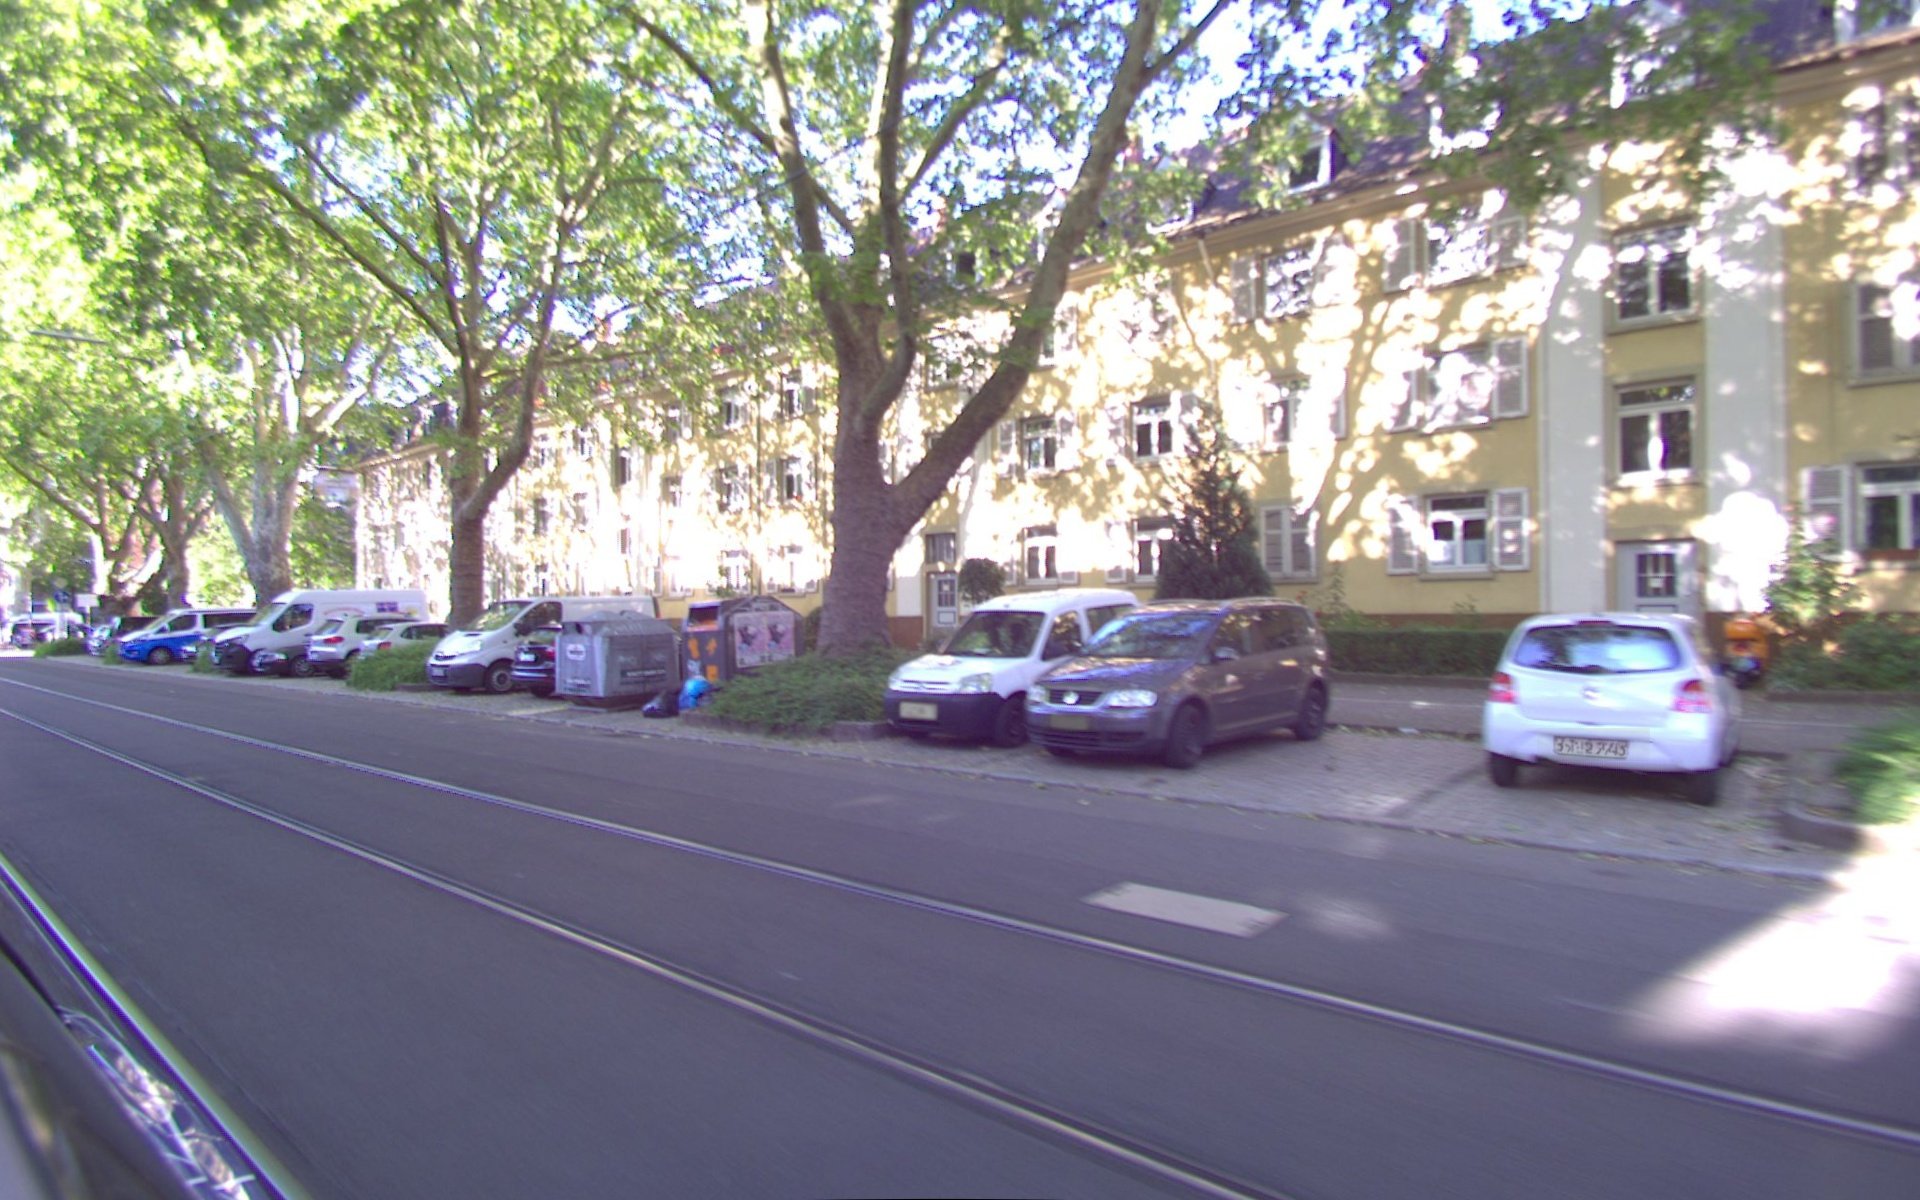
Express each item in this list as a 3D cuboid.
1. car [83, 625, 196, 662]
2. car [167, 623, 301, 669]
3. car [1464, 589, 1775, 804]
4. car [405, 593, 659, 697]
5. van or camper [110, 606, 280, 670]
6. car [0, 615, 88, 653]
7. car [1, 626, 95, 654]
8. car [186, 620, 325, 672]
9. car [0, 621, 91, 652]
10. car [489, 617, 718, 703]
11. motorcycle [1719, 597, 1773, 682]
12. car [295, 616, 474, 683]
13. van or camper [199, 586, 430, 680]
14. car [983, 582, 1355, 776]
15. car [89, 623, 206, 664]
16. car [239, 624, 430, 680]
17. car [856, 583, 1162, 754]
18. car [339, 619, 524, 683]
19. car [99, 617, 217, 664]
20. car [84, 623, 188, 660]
[{"bbox_3d":[-36.940,1.913,45.643,1.697,1.497,3.652,-1,-1,34],"label":"car"},{"bbox_3d":[-25.812,1.613,36.067,1.692,1.471,3.500,-1,-1,34],"label":"car"},{"bbox_3d":[6.108,0.716,9.186,1.861,1.509,3.807,-2,-2,41],"label":"car"},{"bbox_3d":[-8.962,0.861,21.548,1.959,1.960,4.613,-2,-1,37],"label":"car"},{"bbox_3d":[-28.849,1.363,38.291,2.117,2.206,4.771,-2,-1,39],"label":"van or camper"},{"bbox_3d":[-62.845,2.327,68.954,2.026,2.416,4.957,-2,-1,39],"label":"car"},{"bbox_3d":[-56.714,2.470,63.002,1.923,1.527,4.119,-2,-1,39],"label":"car"},{"bbox_3d":[-23.995,1.536,34.549,1.612,1.577,3.643,-2,-1,42],"label":"car"},{"bbox_3d":[-58.705,2.337,64.762,2.026,1.779,4.409,-2,-1,39],"label":"car"},{"bbox_3d":[-6.862,1.092,19.744,1.861,1.509,3.807,-2,-2,41],"label":"car"},{"bbox_3d":[12.319,0.595,15.843,0.523,1.250,1.691,-2,-1,42],"label":"motorcycle"},{"bbox_3d":[-15.388,1.274,27.185,1.861,1.675,3.807,-2,-2,41],"label":"car"},{"bbox_3d":[-19.136,0.887,30.212,2.443,2.535,5.335,-2,-1,40],"label":"van or camper"},{"bbox_3d":[2.417,0.733,11.069,4.184,1.701,1.935,1,-2,-44],"label":"car"},{"bbox_3d":[-35.402,1.866,44.144,1.796,1.636,3.650,-2,-1,35],"label":"car"},{"bbox_3d":[-17.355,1.402,28.249,1.752,1.409,4.220,-2,-2,41],"label":"car"},{"bbox_3d":[0.777,0.714,12.697,1.738,1.771,4.158,-2,-1,38],"label":"car"},{"bbox_3d":[-13.512,1.258,26.010,1.861,1.509,3.807,-2,-2,41],"label":"car"},{"bbox_3d":[-33.678,1.667,42.552,1.703,1.828,3.645,-2,-1,40],"label":"car"},{"bbox_3d":[-38.602,1.907,47.464,3.639,1.565,1.705,-1,-1,-44],"label":"car"}]
